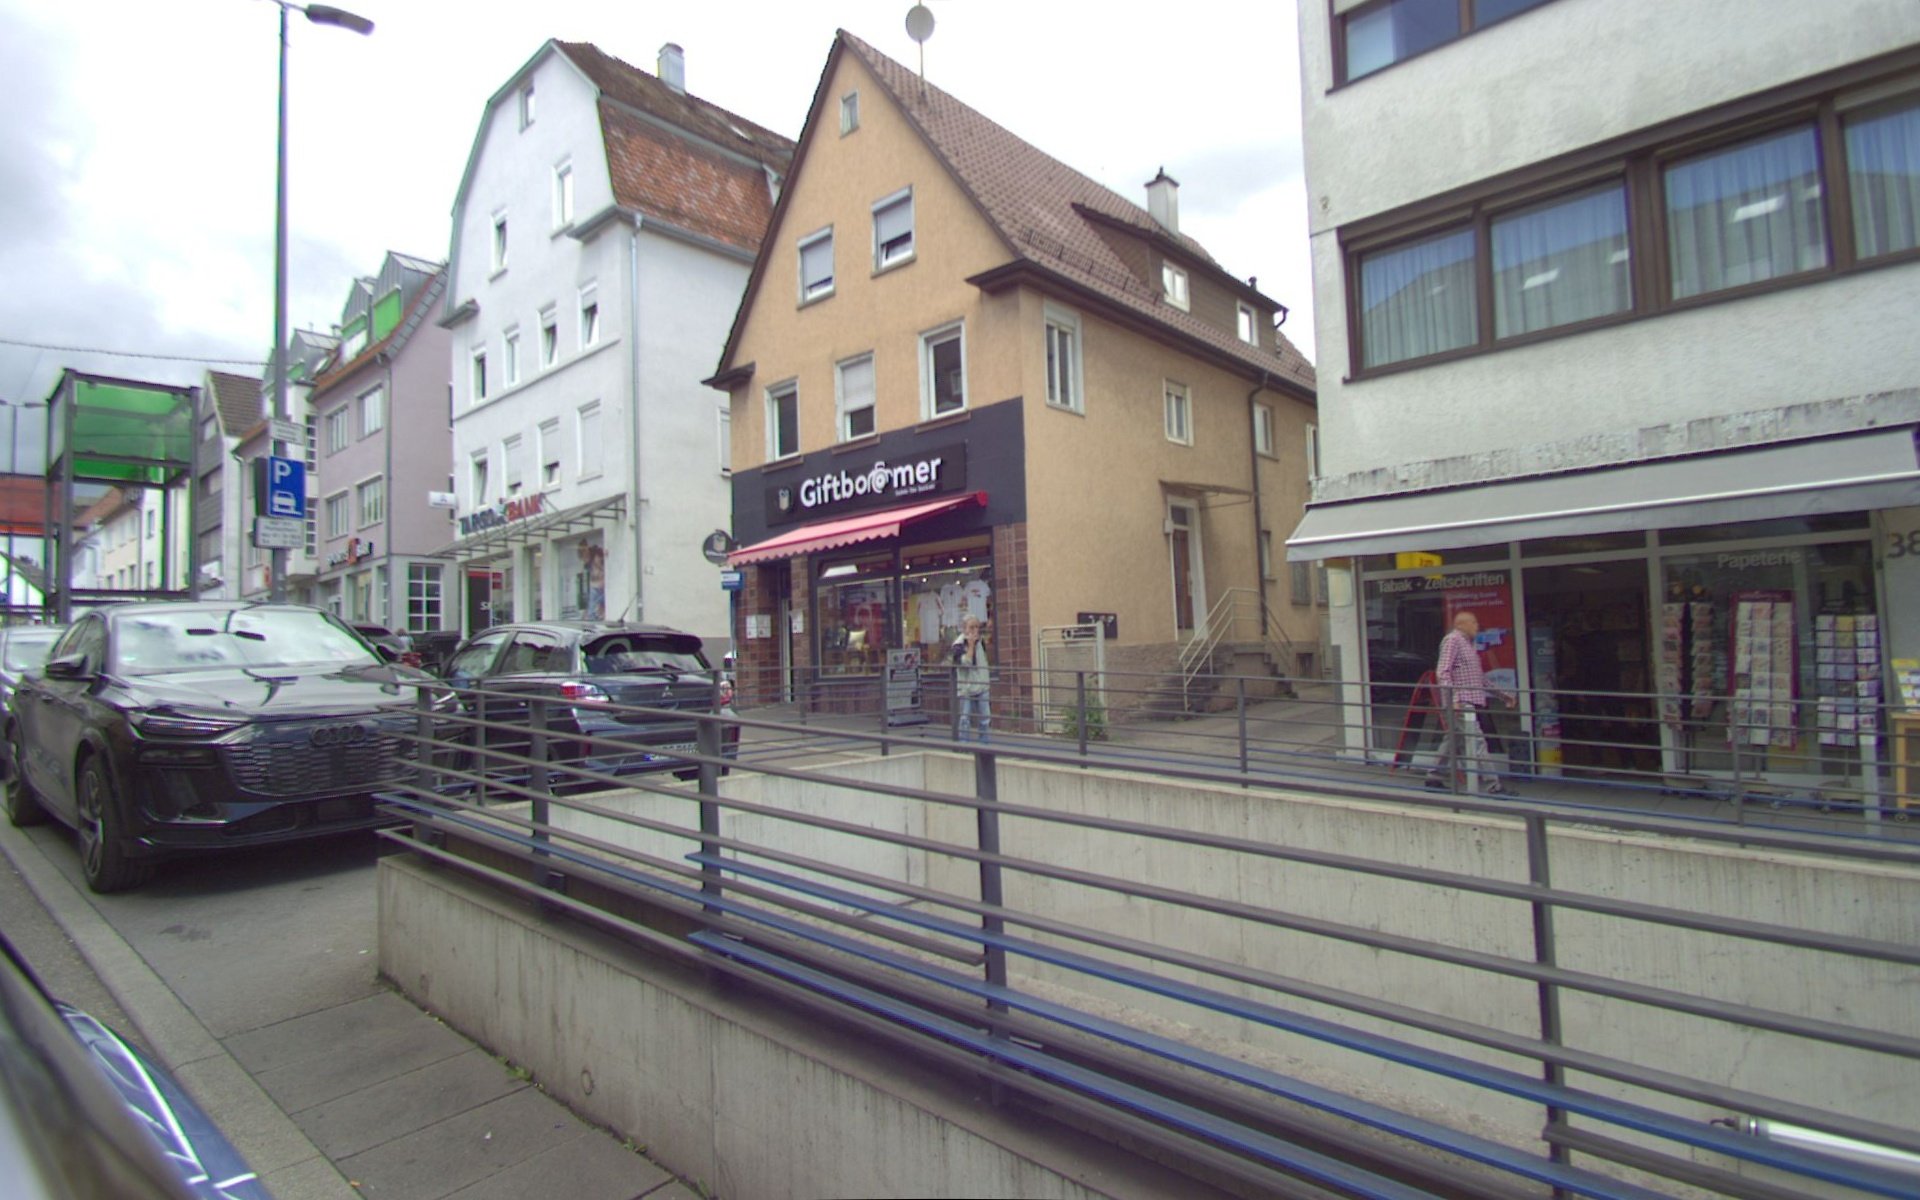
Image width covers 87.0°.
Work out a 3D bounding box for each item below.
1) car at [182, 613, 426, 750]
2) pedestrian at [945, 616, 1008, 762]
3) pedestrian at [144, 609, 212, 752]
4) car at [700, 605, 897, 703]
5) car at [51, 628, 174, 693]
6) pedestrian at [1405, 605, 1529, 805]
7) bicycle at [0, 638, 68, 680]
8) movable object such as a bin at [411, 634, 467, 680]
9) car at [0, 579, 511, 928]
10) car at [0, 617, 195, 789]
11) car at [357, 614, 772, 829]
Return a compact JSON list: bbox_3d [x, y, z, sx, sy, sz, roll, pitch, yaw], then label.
[{"bbox_3d":[-8.998,0.988,13.735,4.191,1.554,1.721,-1,-1,41],"label":"car"},{"bbox_3d":[0.194,1.049,12.209,0.635,1.702,0.667,0,-3,-9],"label":"pedestrian"},{"bbox_3d":[-9.575,0.961,12.385,0.901,1.685,0.527,-3,-3,44],"label":"pedestrian"},{"bbox_3d":[-3.536,1.125,22.647,1.883,1.887,4.026,-2,-1,43],"label":"car"},{"bbox_3d":[-20.945,1.460,24.969,3.851,1.486,1.553,-1,-3,38],"label":"car"},{"bbox_3d":[4.578,0.910,9.155,0.632,1.702,0.828,3,-3,-44],"label":"pedestrian"},{"bbox_3d":[-28.003,1.766,30.391,0.459,1.232,1.759,-2,-3,40],"label":"bicycle"},{"bbox_3d":[-16.435,1.780,31.913,1.067,1.387,1.270,-2,-2,41],"label":"movable object such as a bin"},{"bbox_3d":[-5.055,0.761,6.940,4.311,1.652,1.936,-1,-1,40],"label":"car"},{"bbox_3d":[-9.698,0.981,10.919,3.669,1.544,1.603,-1,-1,41],"label":"car"},{"bbox_3d":[-3.613,0.941,8.953,3.881,1.487,1.721,-1,-5,40],"label":"car"}]
